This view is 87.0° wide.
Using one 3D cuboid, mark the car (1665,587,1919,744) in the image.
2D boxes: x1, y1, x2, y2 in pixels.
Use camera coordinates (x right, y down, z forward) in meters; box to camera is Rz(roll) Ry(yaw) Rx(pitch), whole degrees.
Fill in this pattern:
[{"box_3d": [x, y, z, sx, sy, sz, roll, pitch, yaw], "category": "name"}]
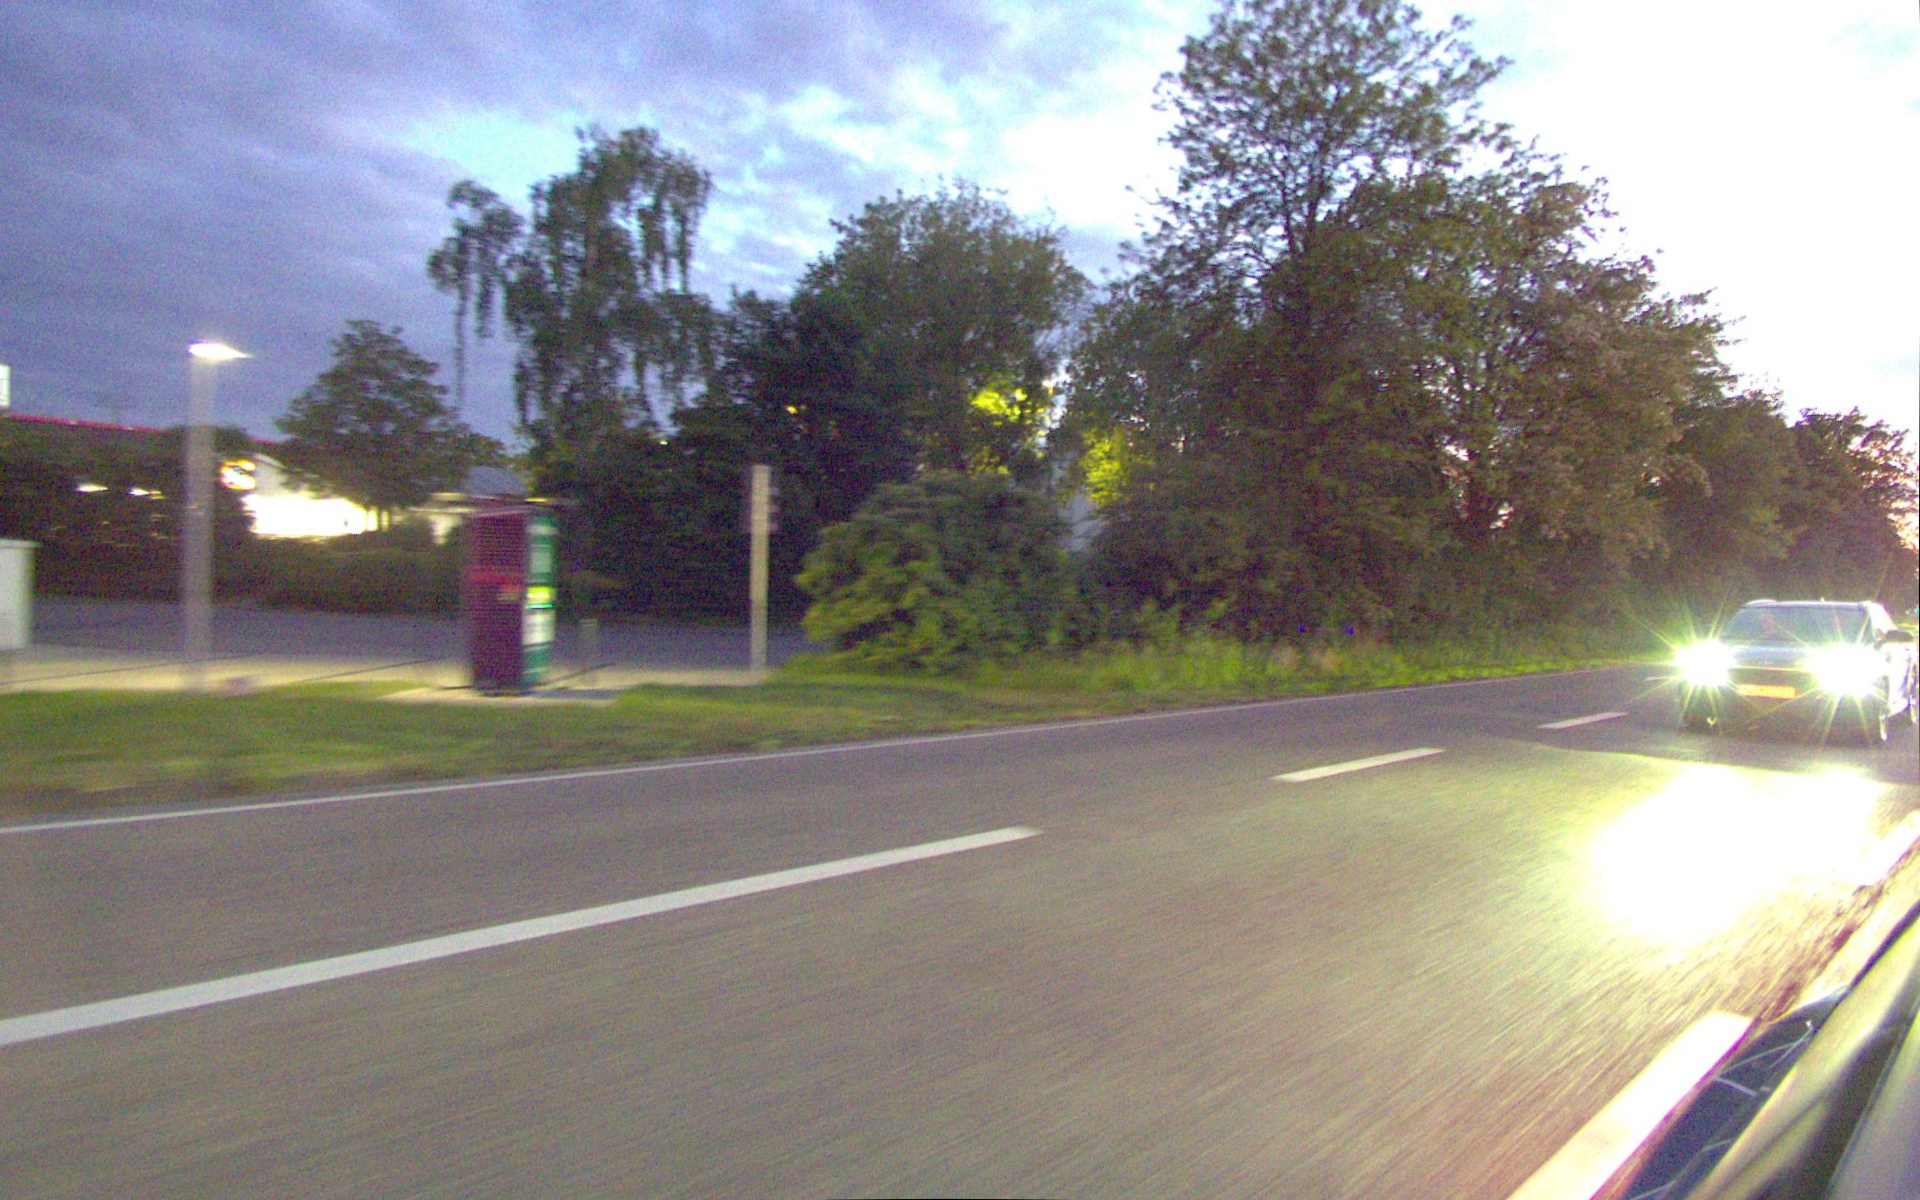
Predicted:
[{"box_3d": [10.781, 0.687, 12.809, 4.629, 1.630, 1.997, 1, 0, -41], "category": "car"}]
